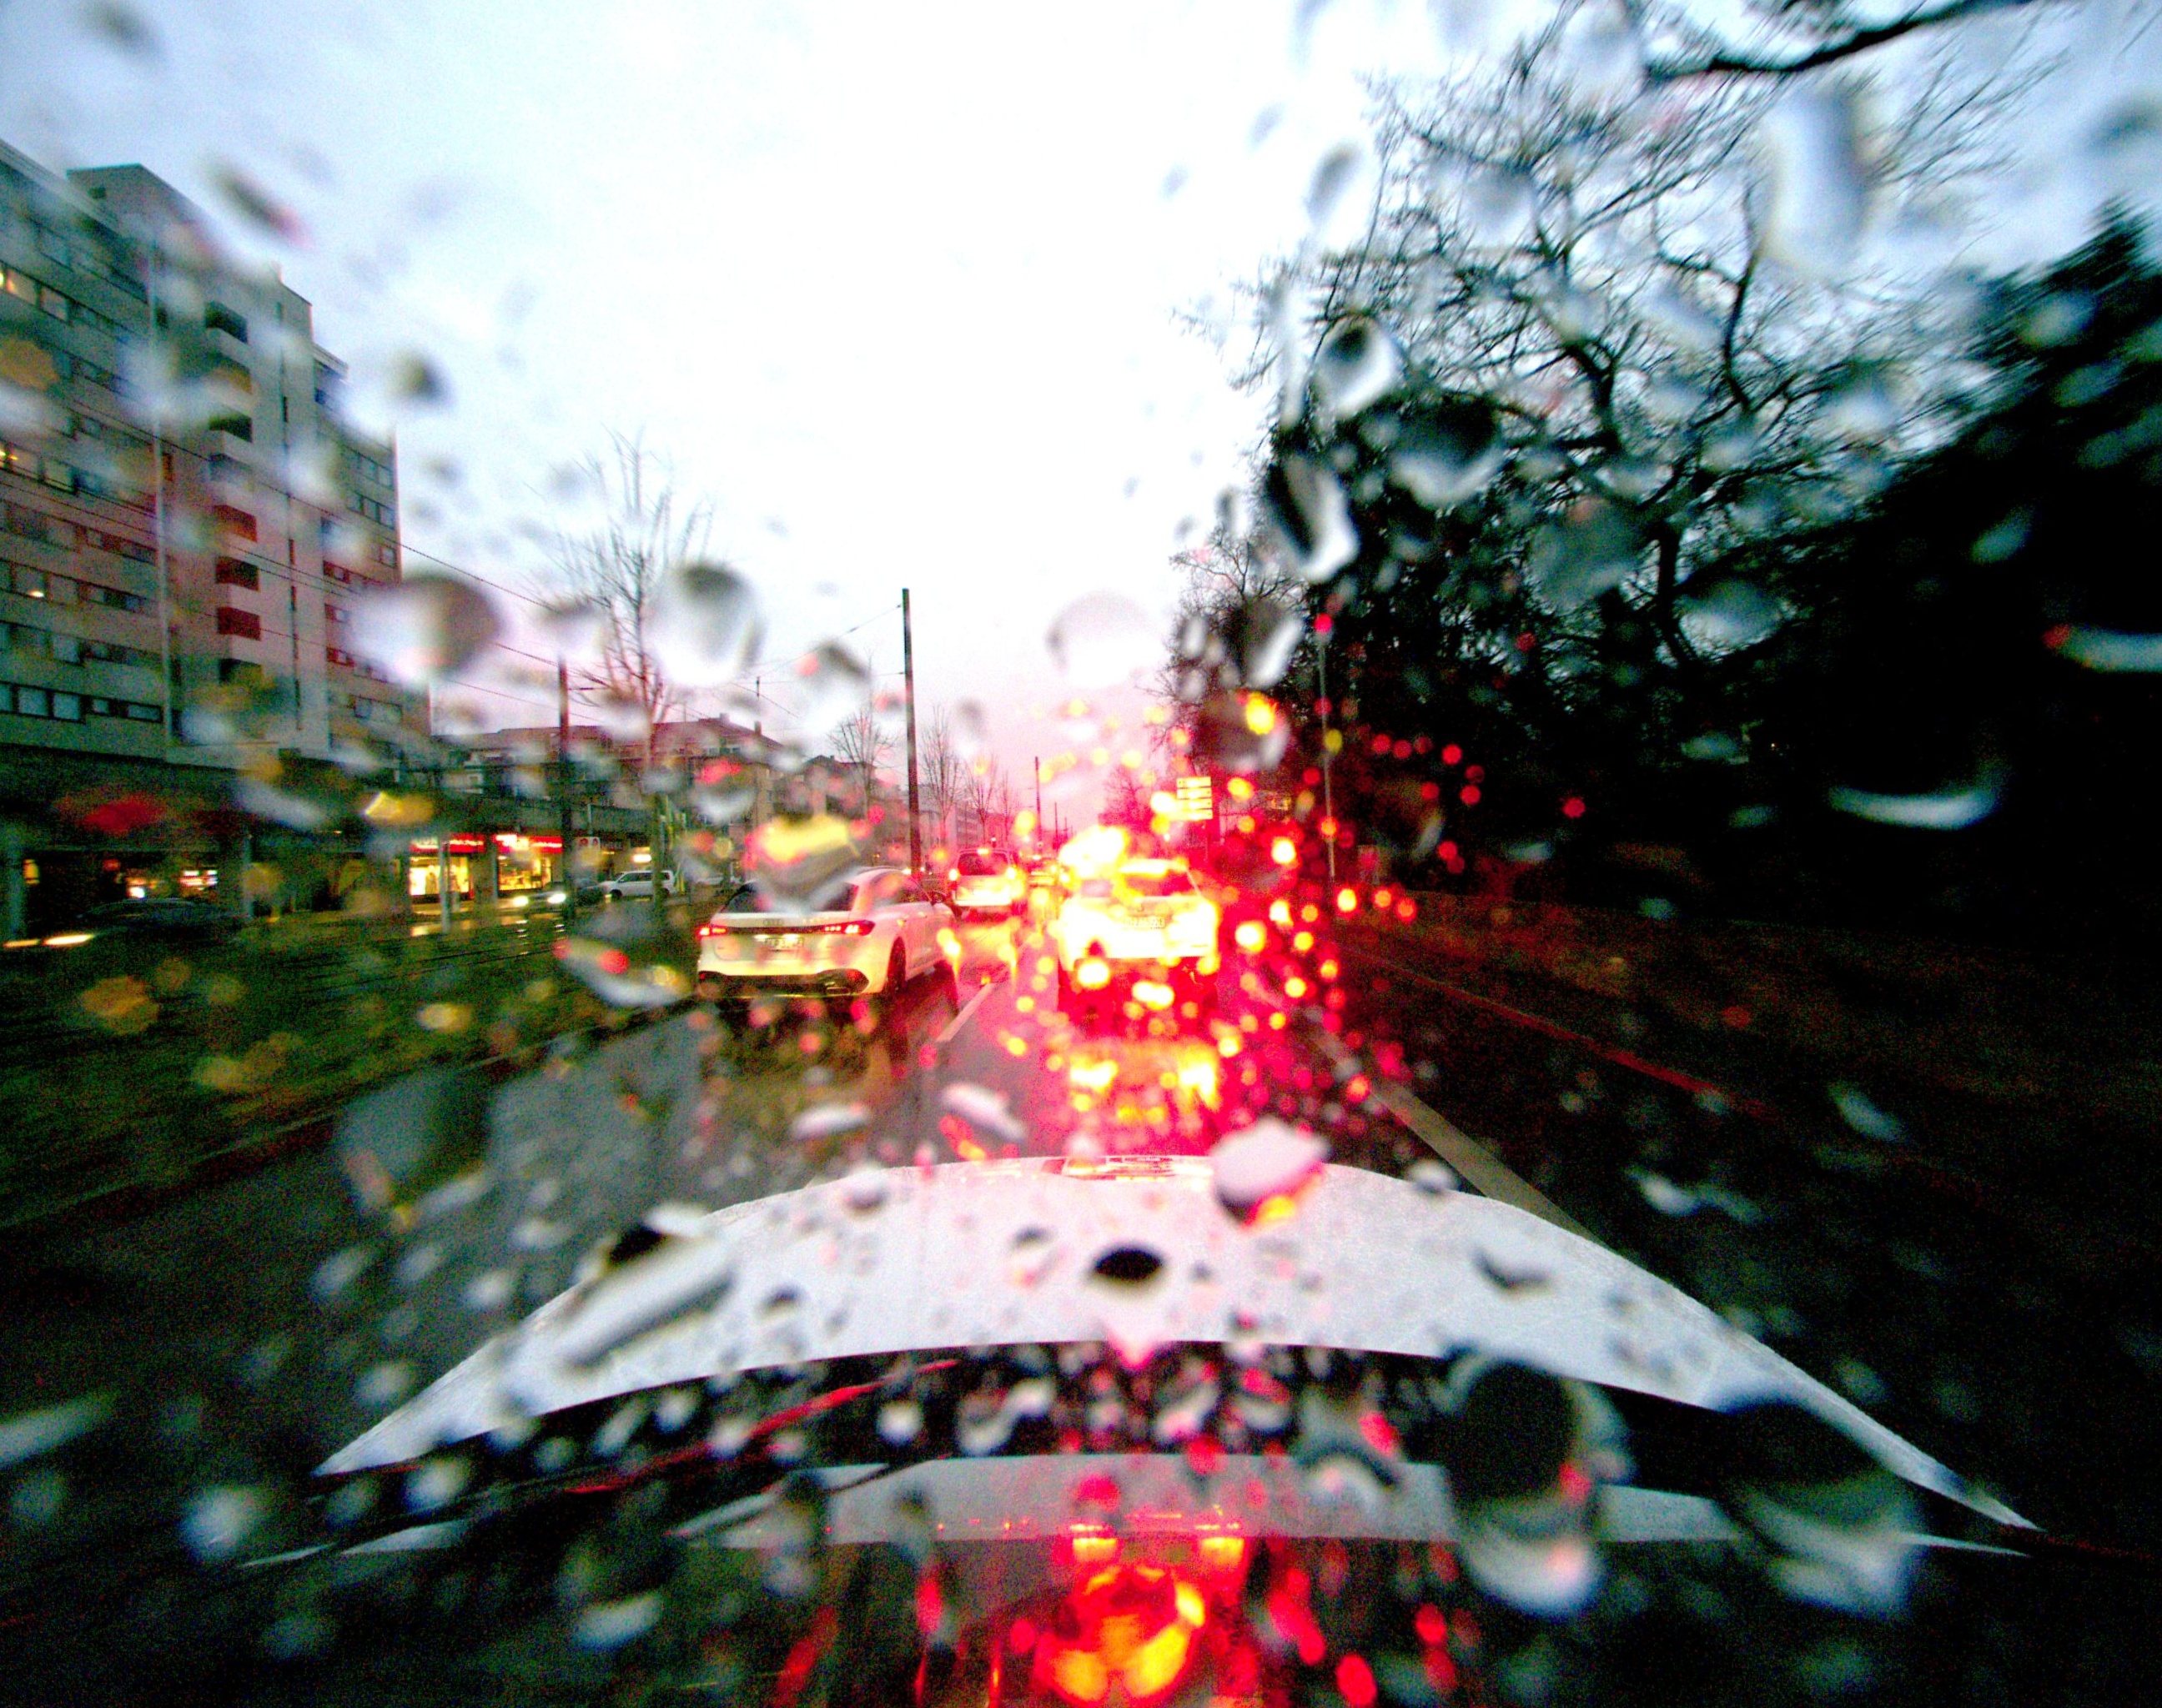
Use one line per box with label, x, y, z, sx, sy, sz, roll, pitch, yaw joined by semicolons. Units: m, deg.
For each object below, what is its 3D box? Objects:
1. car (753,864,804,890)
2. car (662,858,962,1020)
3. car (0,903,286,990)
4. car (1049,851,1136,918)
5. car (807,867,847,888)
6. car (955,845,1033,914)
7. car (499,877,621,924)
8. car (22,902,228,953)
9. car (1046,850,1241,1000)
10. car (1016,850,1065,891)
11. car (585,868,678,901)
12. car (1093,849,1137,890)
car;-25.013;1.903;67.490;1.985;1.912;5.168;-3;0;3
car;-2.734;0.771;9.555;1.839;1.405;4.616;-1;0;2
car;-24.736;2.347;21.799;1.888;1.719;4.919;-2;0;2
car;0.315;0.693;20.511;1.929;1.457;4.165;-2;0;2
car;-22.030;2.040;70.774;1.889;1.634;4.580;-2;0;0
car;-2.374;0.677;23.239;1.788;1.736;4.535;-1;0;-1
car;-22.777;1.974;35.903;1.887;1.719;4.922;-2;0;4
car;-31.516;2.375;27.058;4.015;1.387;1.916;0;-1;-34
car;0.710;0.740;10.572;1.992;1.508;4.165;-2;0;2
car;-1.732;0.686;35.794;1.800;1.646;4.002;-1;0;2
car;-30.684;2.068;55.692;5.193;1.912;1.975;-3;0;-44
car;1.481;0.635;35.660;1.800;1.646;4.002;-1;0;2
